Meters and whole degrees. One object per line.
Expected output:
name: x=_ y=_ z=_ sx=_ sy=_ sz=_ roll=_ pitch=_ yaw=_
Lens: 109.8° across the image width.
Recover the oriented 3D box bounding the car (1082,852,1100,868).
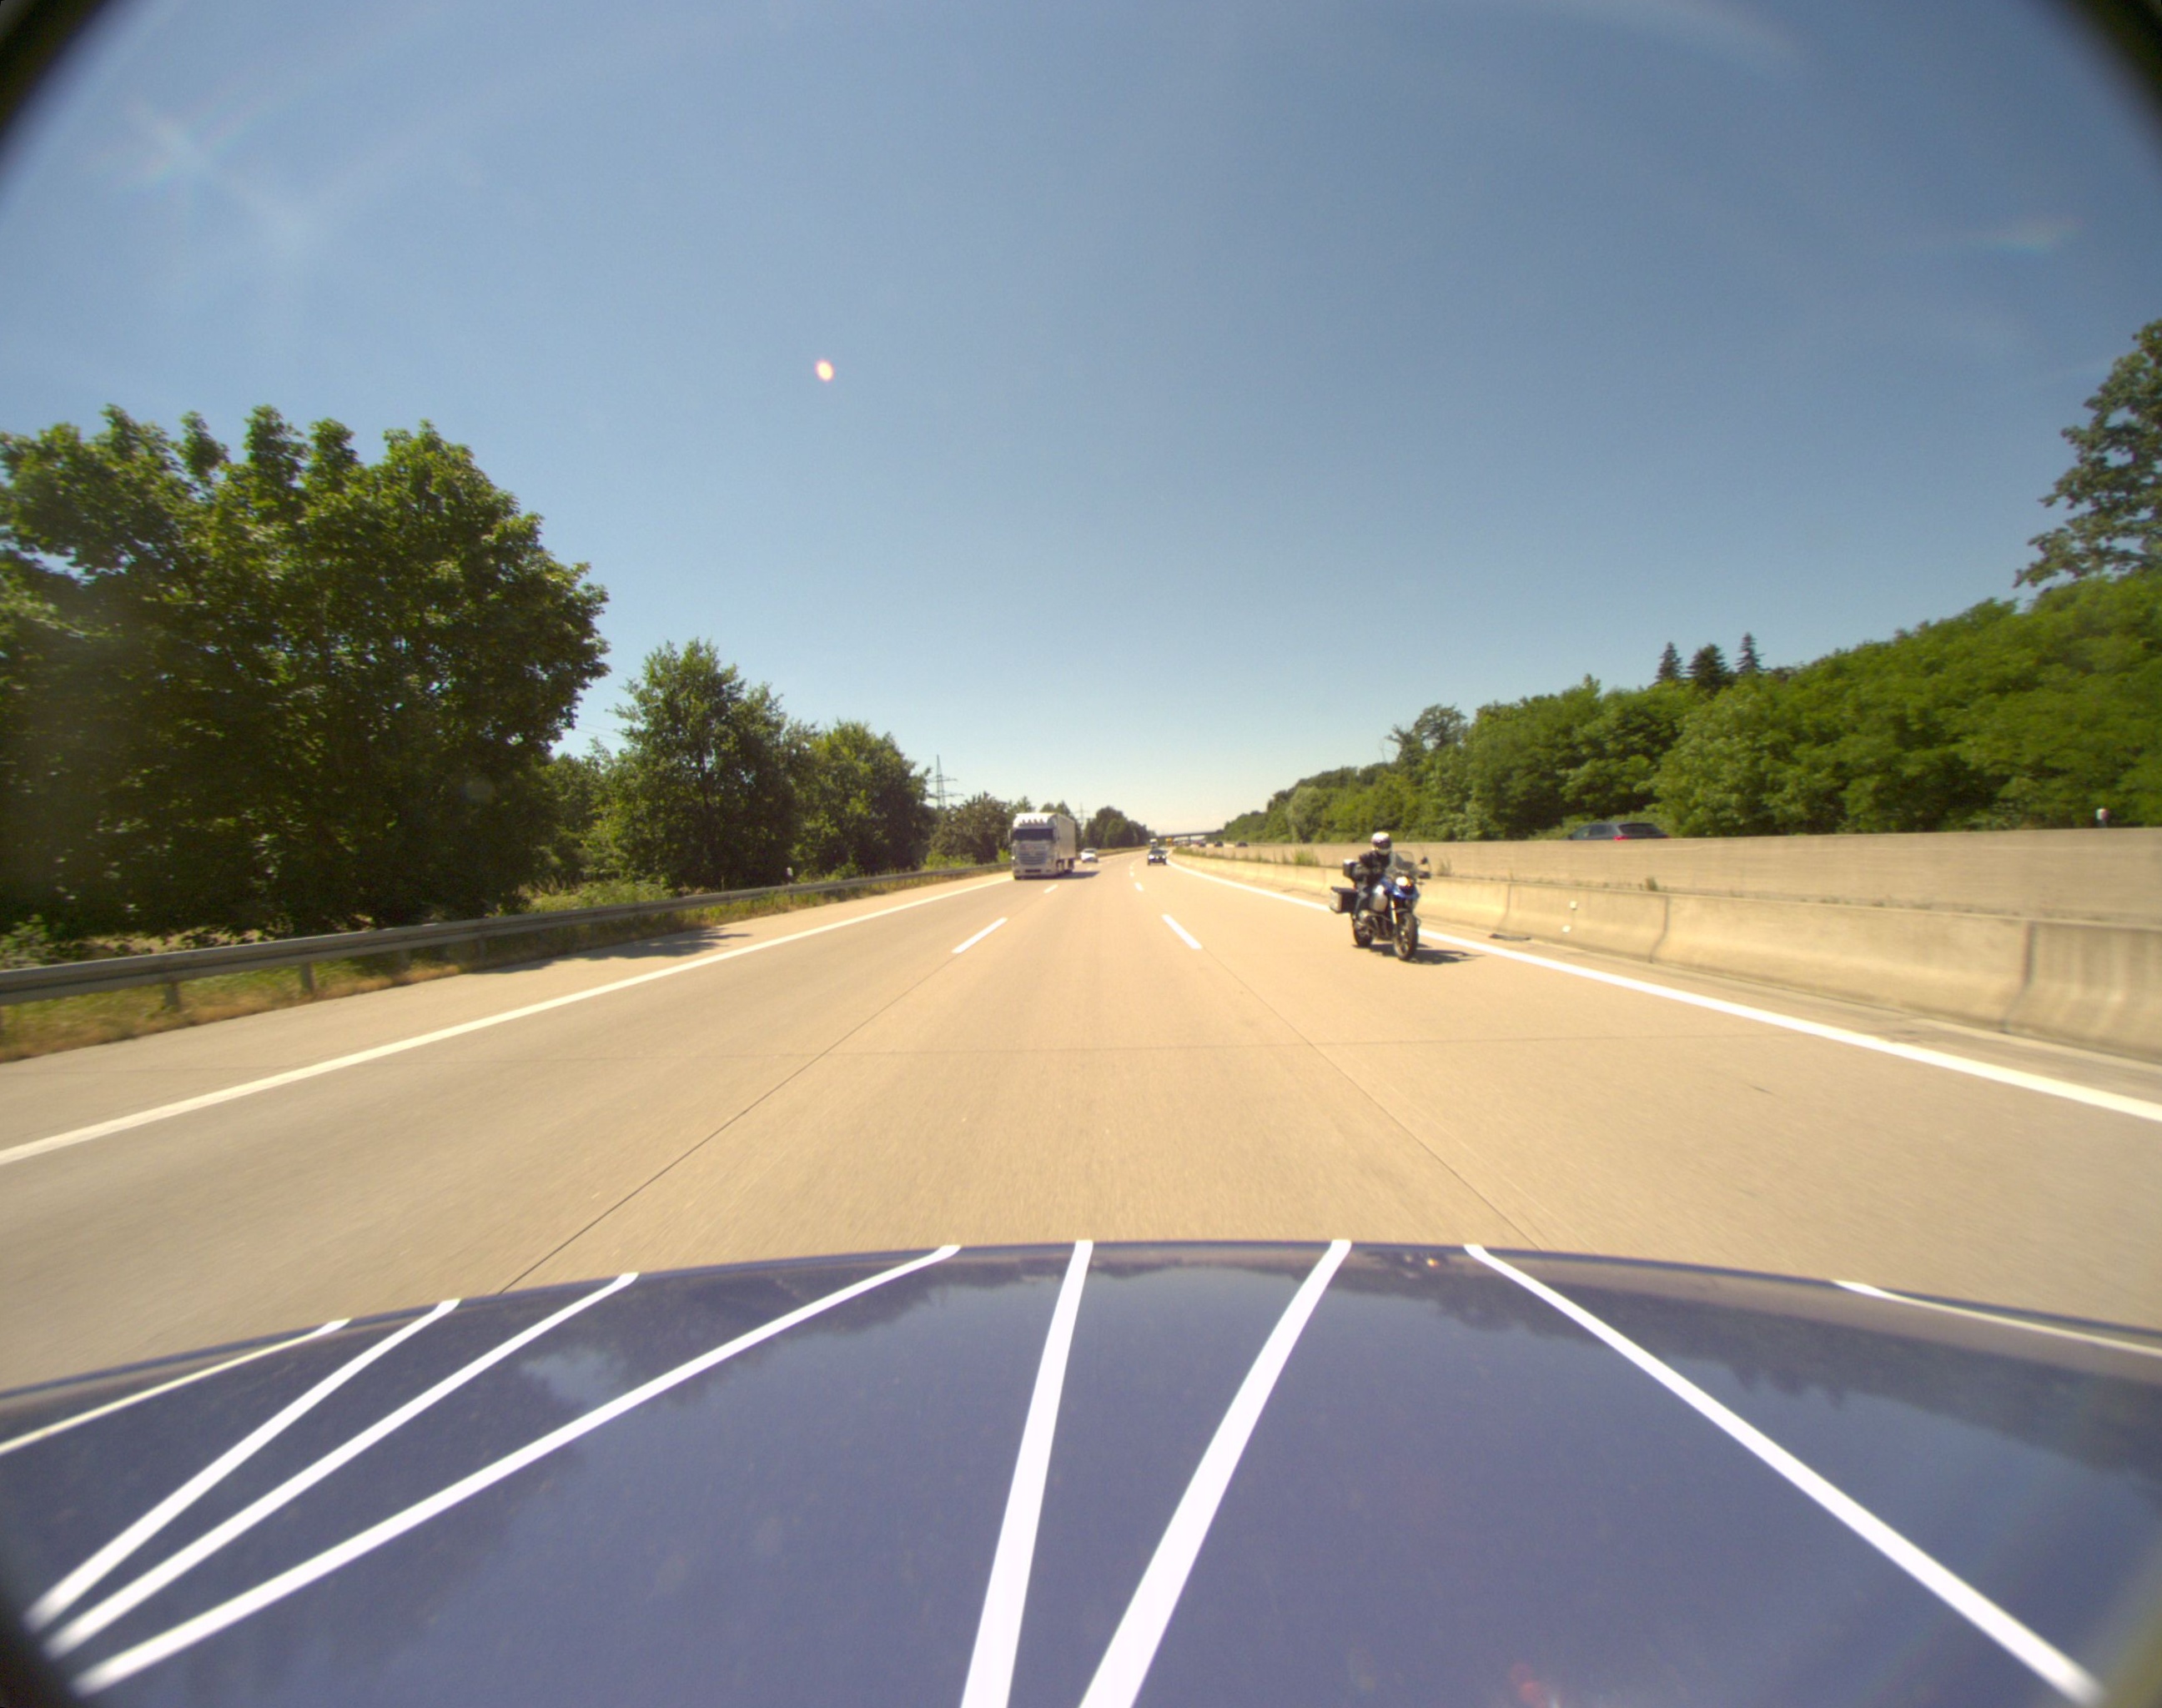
car: x=1.387 y=0.762 z=101.726 sx=1.883 sy=1.878 sz=5.281 roll=-5 pitch=0 yaw=4

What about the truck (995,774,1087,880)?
truck: x=-2.202 y=-1.554 z=52.335 sx=3.585 sy=5.753 sz=18.252 roll=-5 pitch=0 yaw=4

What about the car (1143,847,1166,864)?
car: x=7.256 y=0.141 z=74.893 sx=1.997 sy=1.518 sz=4.002 roll=-1 pitch=1 yaw=9

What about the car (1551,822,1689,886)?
car: x=16.881 y=-0.023 z=24.051 sx=1.704 sy=1.823 sz=3.882 roll=-1 pitch=1 yaw=2

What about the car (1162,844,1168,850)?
car: x=22.768 y=-1.777 z=205.828 sx=1.579 sy=1.565 sz=3.675 roll=-2 pitch=1 yaw=4

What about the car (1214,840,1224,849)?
car: x=30.151 y=-2.156 z=166.385 sx=1.662 sy=1.911 sz=4.139 roll=-3 pitch=0 yaw=5

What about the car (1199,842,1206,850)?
car: x=31.767 y=-2.160 z=198.806 sx=1.662 sy=1.911 sz=4.008 roll=-3 pitch=0 yaw=5

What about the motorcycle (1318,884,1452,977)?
motorcycle: x=4.156 y=1.001 z=10.651 sx=1.023 sy=1.042 sz=2.413 roll=-1 pitch=0 yaw=3

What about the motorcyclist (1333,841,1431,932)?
motorcyclist: x=4.127 y=0.434 z=10.492 sx=1.027 sy=1.202 sz=0.911 roll=0 pitch=0 yaw=3

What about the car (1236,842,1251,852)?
car: x=24.922 y=-1.062 z=116.819 sx=1.616 sy=1.319 sz=3.642 roll=-3 pitch=0 yaw=3
